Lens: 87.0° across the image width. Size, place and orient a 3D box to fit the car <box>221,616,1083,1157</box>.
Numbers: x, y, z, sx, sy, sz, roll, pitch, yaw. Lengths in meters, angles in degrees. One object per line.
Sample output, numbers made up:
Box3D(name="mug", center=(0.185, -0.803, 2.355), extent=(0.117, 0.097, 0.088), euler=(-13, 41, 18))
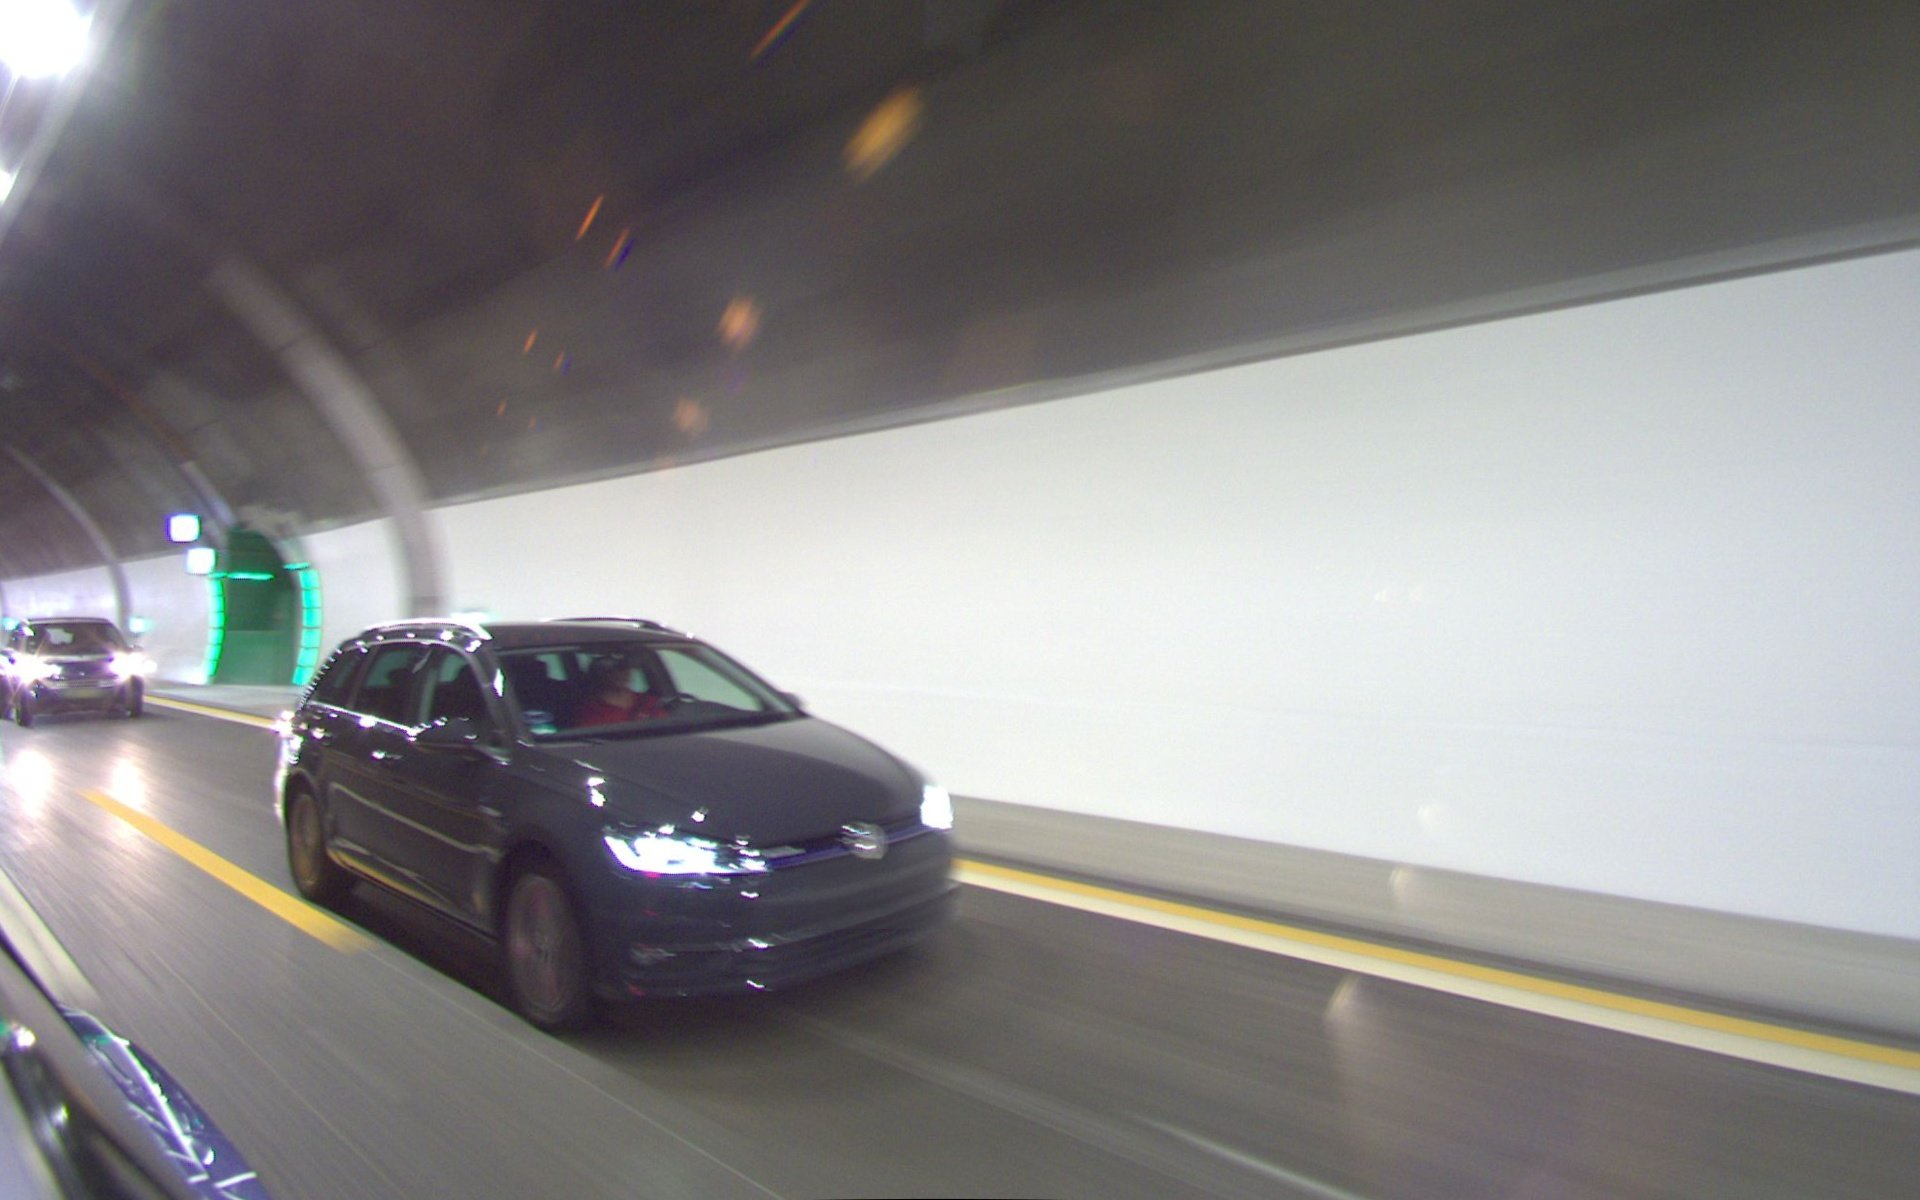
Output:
Box3D(name="car", center=(-1.925, 0.840, 5.034), extent=(4.879, 1.449, 1.760), euler=(-2, -1, 41))

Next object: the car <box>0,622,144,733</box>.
Box3D(name="car", center=(-13.705, 1.111, 15.469), extent=(2.650, 1.528, 1.511), euler=(-2, -1, 42))
